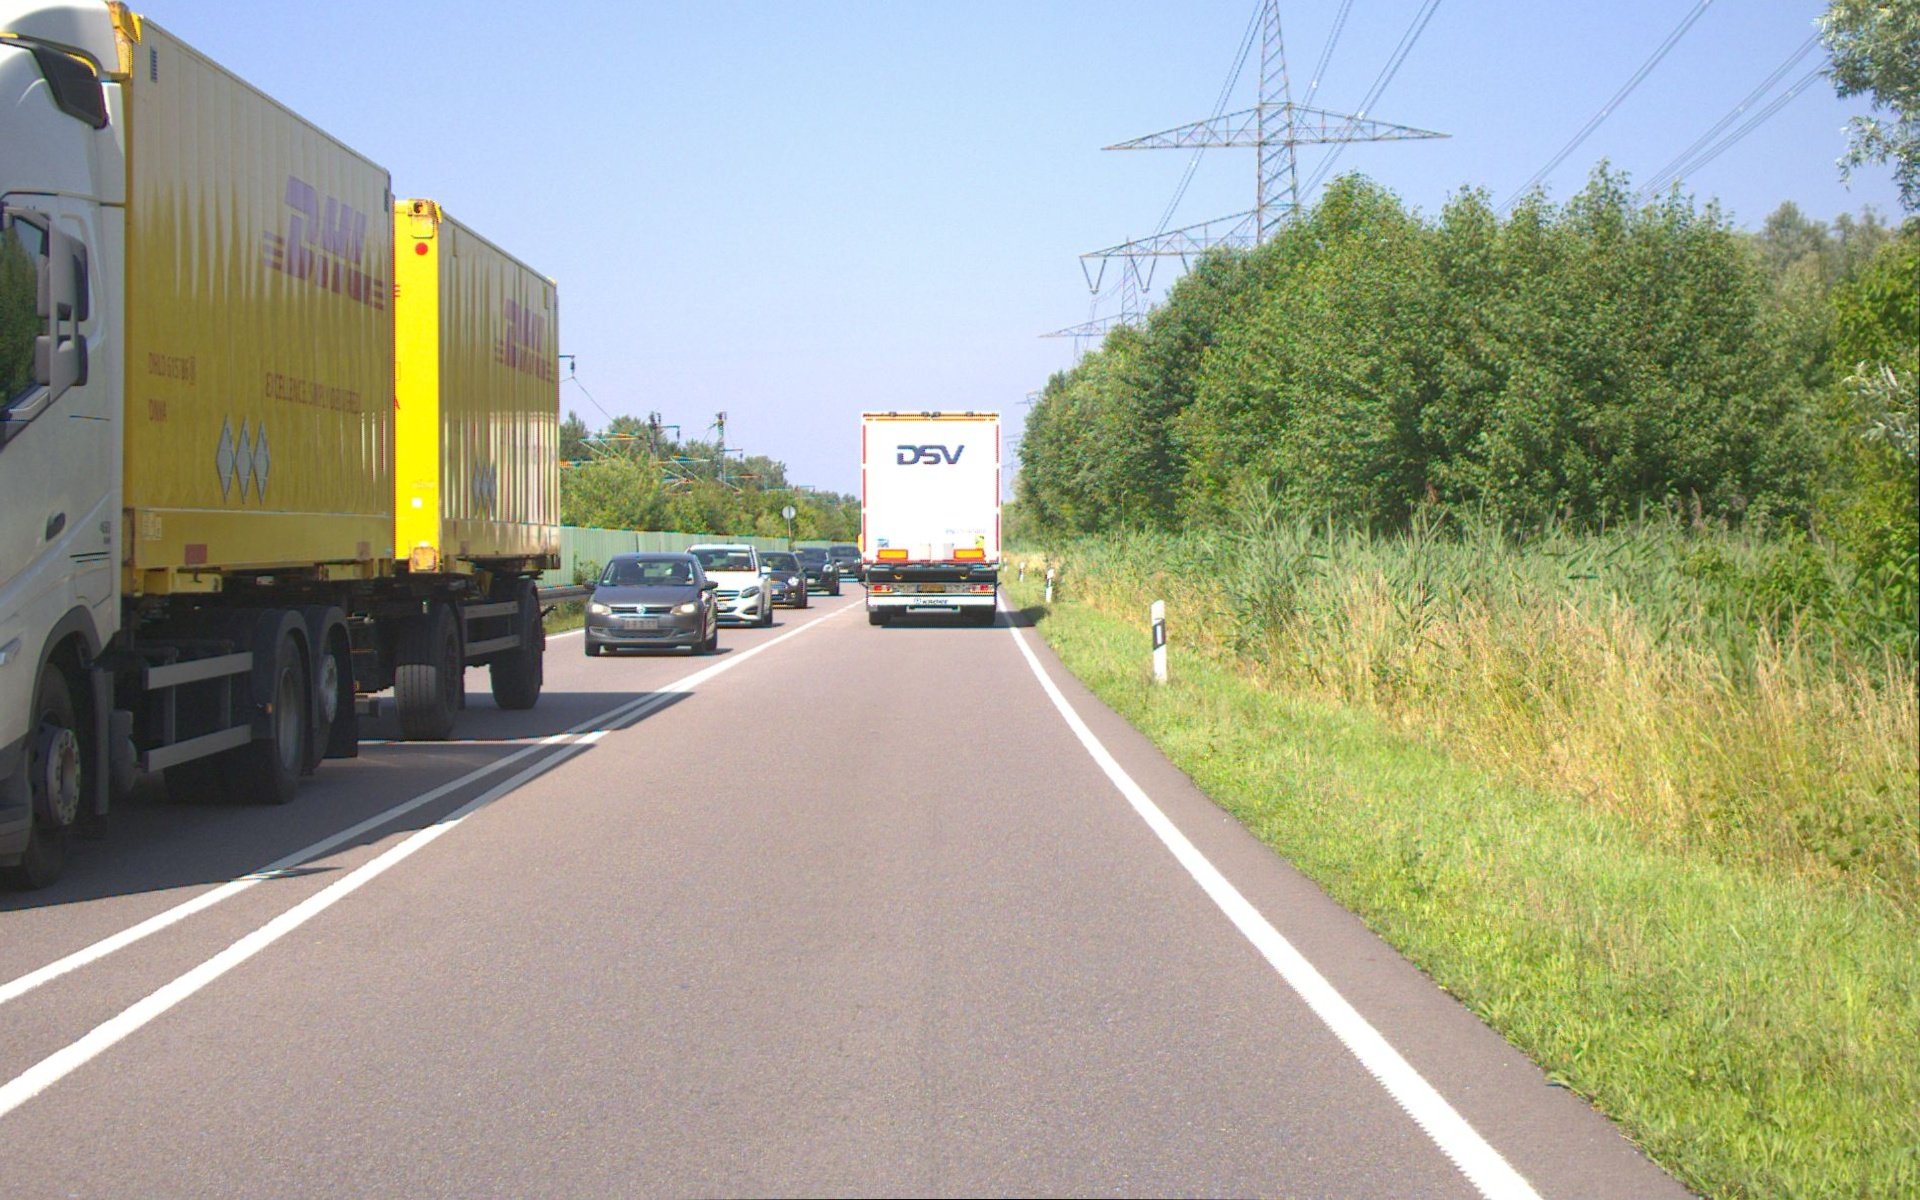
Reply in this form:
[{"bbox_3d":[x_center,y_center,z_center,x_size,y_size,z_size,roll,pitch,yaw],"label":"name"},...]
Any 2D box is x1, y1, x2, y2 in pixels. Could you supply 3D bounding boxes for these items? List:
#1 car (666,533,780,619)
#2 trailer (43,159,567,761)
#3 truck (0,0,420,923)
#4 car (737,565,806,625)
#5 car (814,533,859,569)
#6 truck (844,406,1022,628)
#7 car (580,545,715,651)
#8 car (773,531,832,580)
[{"bbox_3d":[-4.490,-0.483,65.601,1.825,1.600,4.323,0,1,1],"label":"car"},{"bbox_3d":[-5.026,-1.038,28.232,2.548,4.130,9.229,0,1,0],"label":"trailer"},{"bbox_3d":[-5.042,-0.884,18.730,2.548,4.114,10.604,0,1,0],"label":"truck"},{"bbox_3d":[-4.689,-0.139,85.979,1.506,1.430,3.742,0,1,0],"label":"car"},{"bbox_3d":[-5.519,-2.209,153.856,1.801,1.582,4.371,0,1,0],"label":"car"},{"bbox_3d":[-0.518,-1.606,68.729,3.192,4.029,12.007,-1,1,0],"label":"truck"},{"bbox_3d":[-4.394,-0.063,48.770,1.614,1.436,3.795,0,1,-1],"label":"car"},{"bbox_3d":[-4.934,-1.403,108.169,1.673,1.509,4.289,0,1,0],"label":"car"}]
